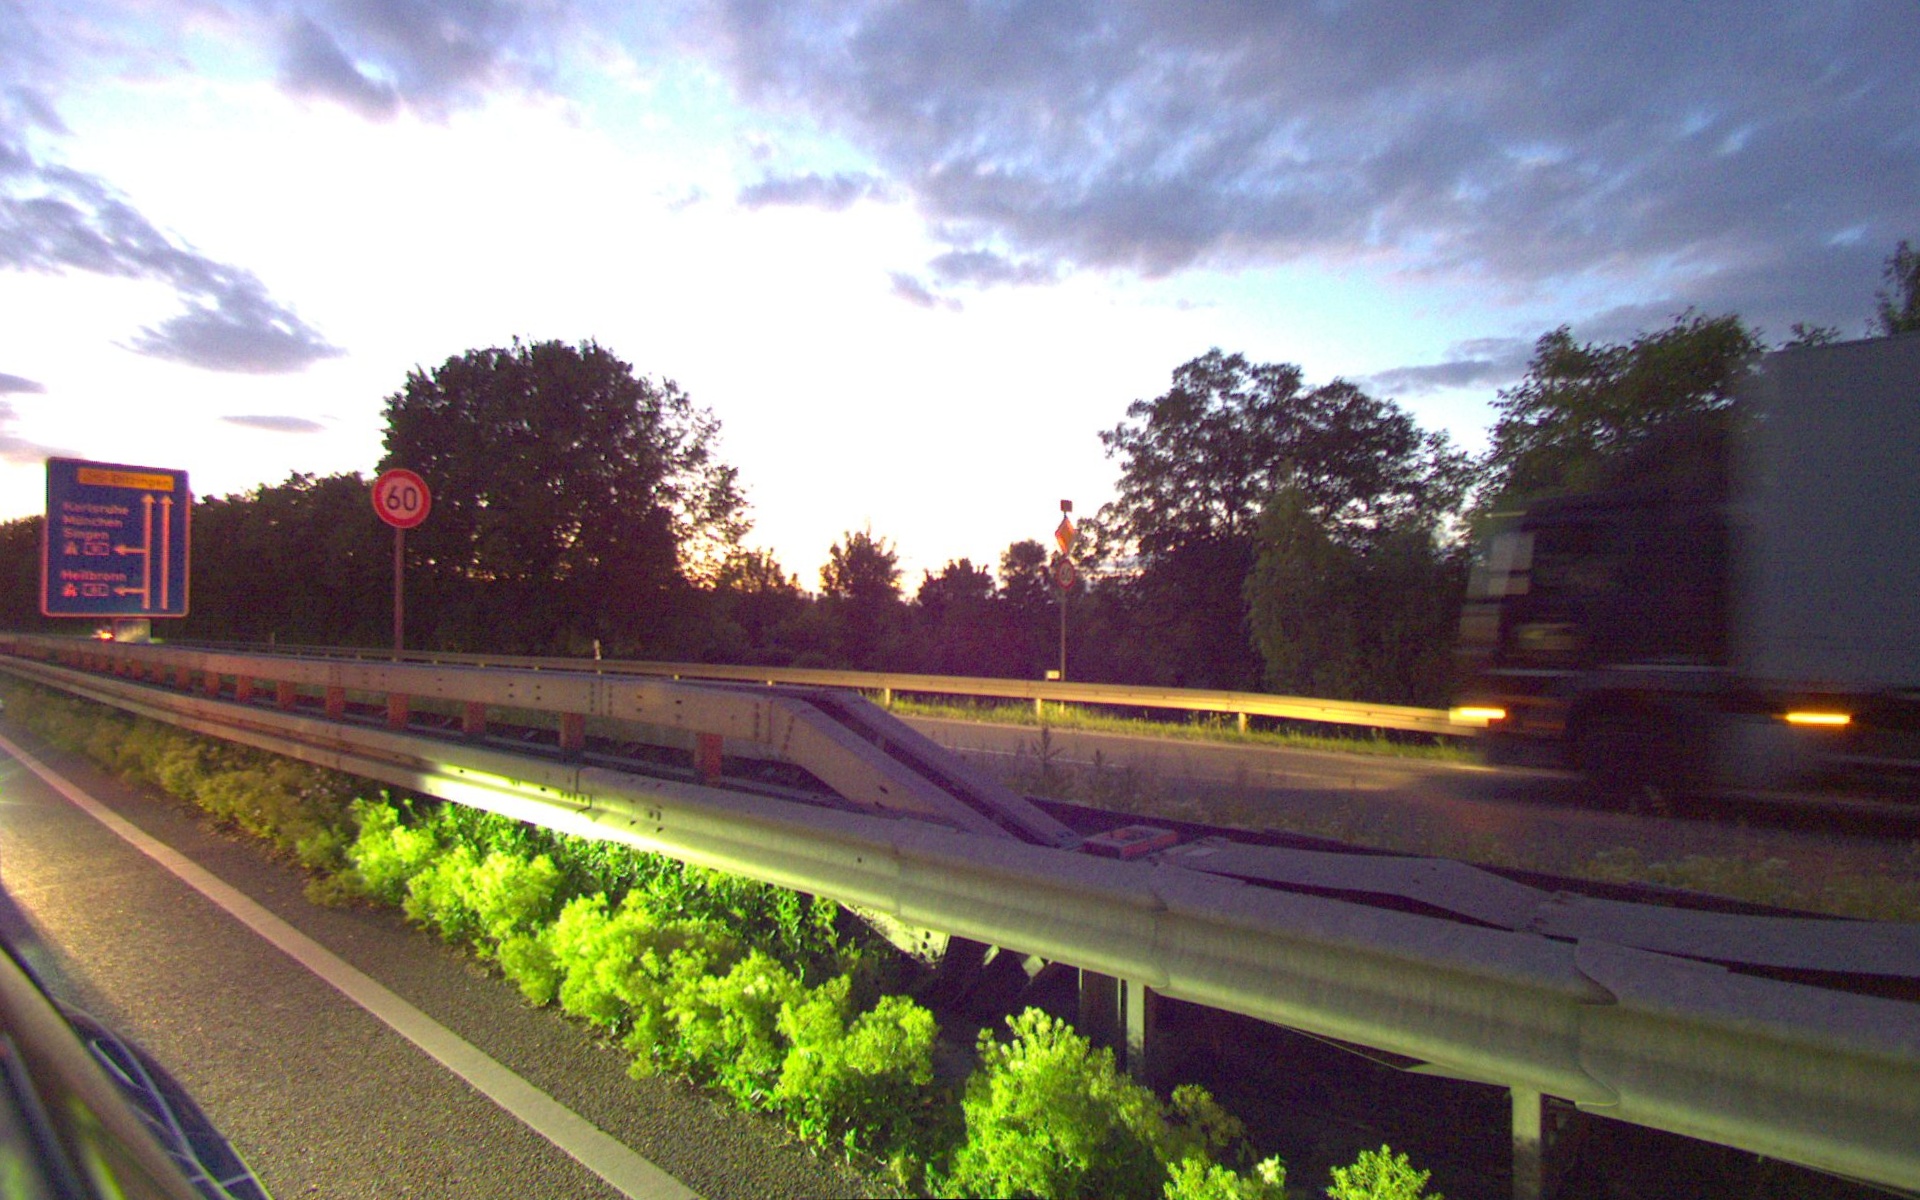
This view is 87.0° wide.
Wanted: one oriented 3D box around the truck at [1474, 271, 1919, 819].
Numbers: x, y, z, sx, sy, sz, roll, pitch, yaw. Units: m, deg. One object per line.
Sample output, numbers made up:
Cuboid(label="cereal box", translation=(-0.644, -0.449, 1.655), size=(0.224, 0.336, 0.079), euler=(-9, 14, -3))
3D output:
Cuboid(label="truck", translation=(9.597, -0.431, 7.125), size=(2.693, 4.148, 10.356), euler=(1, -1, -43))

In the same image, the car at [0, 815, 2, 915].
Cuboid(label="car", translation=(-6.732, 0.806, 5.547), size=(4.645, 1.447, 1.795), euler=(-2, -1, 42))

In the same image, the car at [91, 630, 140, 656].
Cuboid(label="car", translation=(-51.837, 2.631, 62.085), size=(4.589, 1.516, 1.611), euler=(-2, -3, 42))
